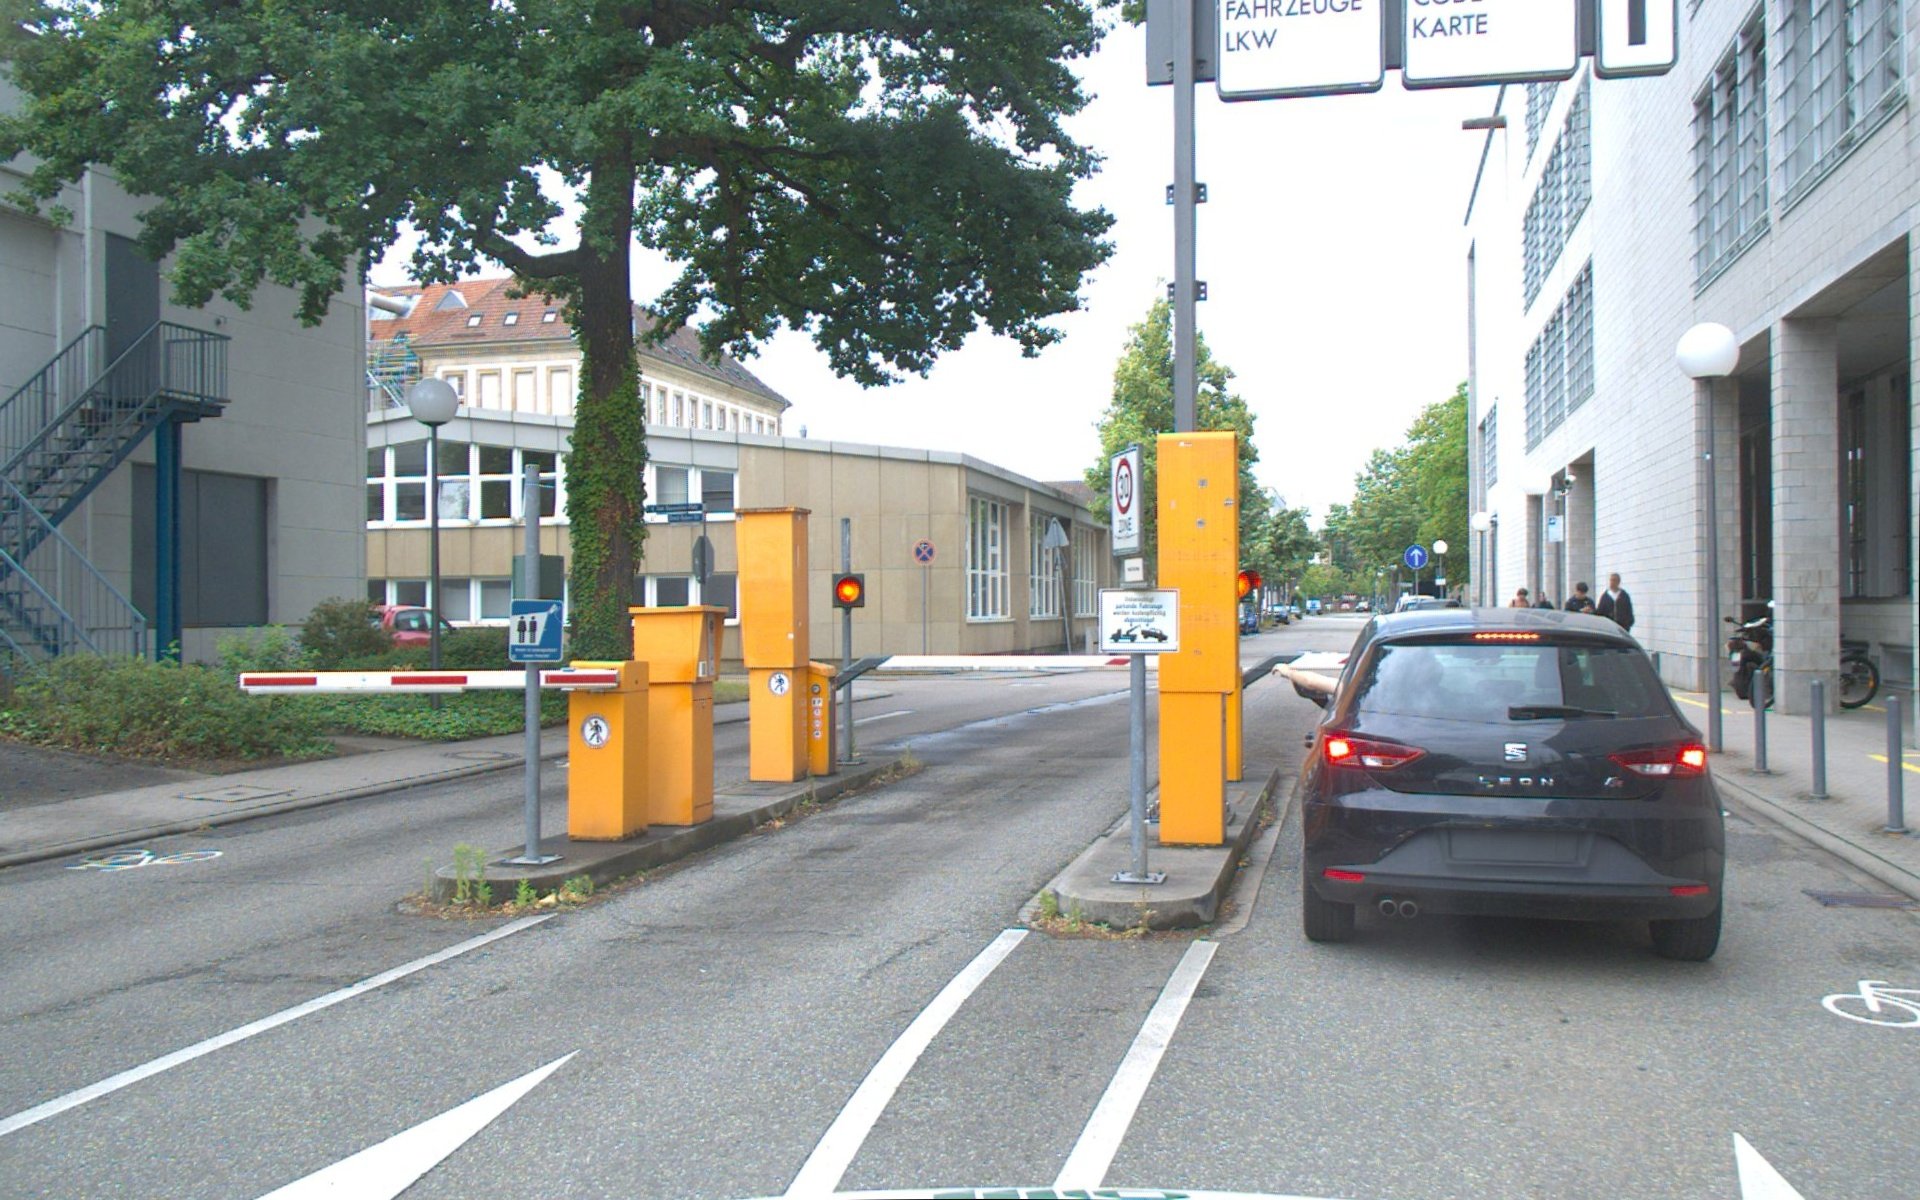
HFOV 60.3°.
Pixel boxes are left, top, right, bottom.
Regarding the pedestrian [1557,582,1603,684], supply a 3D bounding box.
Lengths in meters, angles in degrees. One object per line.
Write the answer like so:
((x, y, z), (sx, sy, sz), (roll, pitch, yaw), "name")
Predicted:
((10.745, 0.562, 28.687), (0.675, 1.728, 0.589), (0, 2, 14), "pedestrian")

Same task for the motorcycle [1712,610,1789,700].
((11.535, 0.773, 24.098), (0.556, 1.168, 2.207), (1, 3, 38), "motorcycle")

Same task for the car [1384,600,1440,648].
((18.141, 0.933, 66.528), (1.951, 1.813, 4.431), (-2, -1, 13), "car")

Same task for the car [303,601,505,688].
((-10.525, 0.796, 31.632), (1.823, 1.557, 4.003), (0, 0, 13), "car")

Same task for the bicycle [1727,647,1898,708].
((10.807, 0.979, 21.002), (1.856, 0.711, 0.493), (0, 2, 10), "bicycle")

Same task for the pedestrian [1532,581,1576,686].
((10.052, 0.557, 27.993), (0.598, 1.744, 0.575), (-2, -1, 15), "pedestrian")

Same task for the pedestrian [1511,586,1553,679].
((10.791, 0.602, 31.235), (0.681, 1.744, 0.490), (0, 0, 11), "pedestrian")

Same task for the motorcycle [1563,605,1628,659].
((15.473, 0.759, 40.228), (0.747, 1.168, 2.651), (1, 3, 38), "motorcycle")

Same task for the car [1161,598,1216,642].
((8.792, 0.759, 63.424), (1.732, 1.629, 4.003), (0, 0, 13), "car")

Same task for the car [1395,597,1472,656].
((14.165, 0.797, 49.703), (1.951, 1.651, 4.431), (-2, -1, 13), "car")

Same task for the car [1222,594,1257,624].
((15.381, 0.482, 90.966), (1.732, 1.629, 4.003), (0, 0, 12), "car")

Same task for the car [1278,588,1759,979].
((2.566, 0.674, 8.324), (1.744, 1.444, 4.133), (0, 0, 13), "car")

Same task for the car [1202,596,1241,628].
((13.575, 0.601, 85.739), (1.732, 1.629, 4.003), (0, 0, 13), "car")

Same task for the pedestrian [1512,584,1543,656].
((13.731, 0.479, 40.028), (0.682, 1.744, 0.489), (0, 0, 18), "pedestrian")

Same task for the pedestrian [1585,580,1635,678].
((11.677, 0.519, 29.726), (0.712, 1.728, 0.589), (0, 2, 9), "pedestrian")

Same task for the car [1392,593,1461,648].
((15.223, 0.649, 54.112), (1.951, 1.651, 4.431), (-2, -1, 14), "car")
